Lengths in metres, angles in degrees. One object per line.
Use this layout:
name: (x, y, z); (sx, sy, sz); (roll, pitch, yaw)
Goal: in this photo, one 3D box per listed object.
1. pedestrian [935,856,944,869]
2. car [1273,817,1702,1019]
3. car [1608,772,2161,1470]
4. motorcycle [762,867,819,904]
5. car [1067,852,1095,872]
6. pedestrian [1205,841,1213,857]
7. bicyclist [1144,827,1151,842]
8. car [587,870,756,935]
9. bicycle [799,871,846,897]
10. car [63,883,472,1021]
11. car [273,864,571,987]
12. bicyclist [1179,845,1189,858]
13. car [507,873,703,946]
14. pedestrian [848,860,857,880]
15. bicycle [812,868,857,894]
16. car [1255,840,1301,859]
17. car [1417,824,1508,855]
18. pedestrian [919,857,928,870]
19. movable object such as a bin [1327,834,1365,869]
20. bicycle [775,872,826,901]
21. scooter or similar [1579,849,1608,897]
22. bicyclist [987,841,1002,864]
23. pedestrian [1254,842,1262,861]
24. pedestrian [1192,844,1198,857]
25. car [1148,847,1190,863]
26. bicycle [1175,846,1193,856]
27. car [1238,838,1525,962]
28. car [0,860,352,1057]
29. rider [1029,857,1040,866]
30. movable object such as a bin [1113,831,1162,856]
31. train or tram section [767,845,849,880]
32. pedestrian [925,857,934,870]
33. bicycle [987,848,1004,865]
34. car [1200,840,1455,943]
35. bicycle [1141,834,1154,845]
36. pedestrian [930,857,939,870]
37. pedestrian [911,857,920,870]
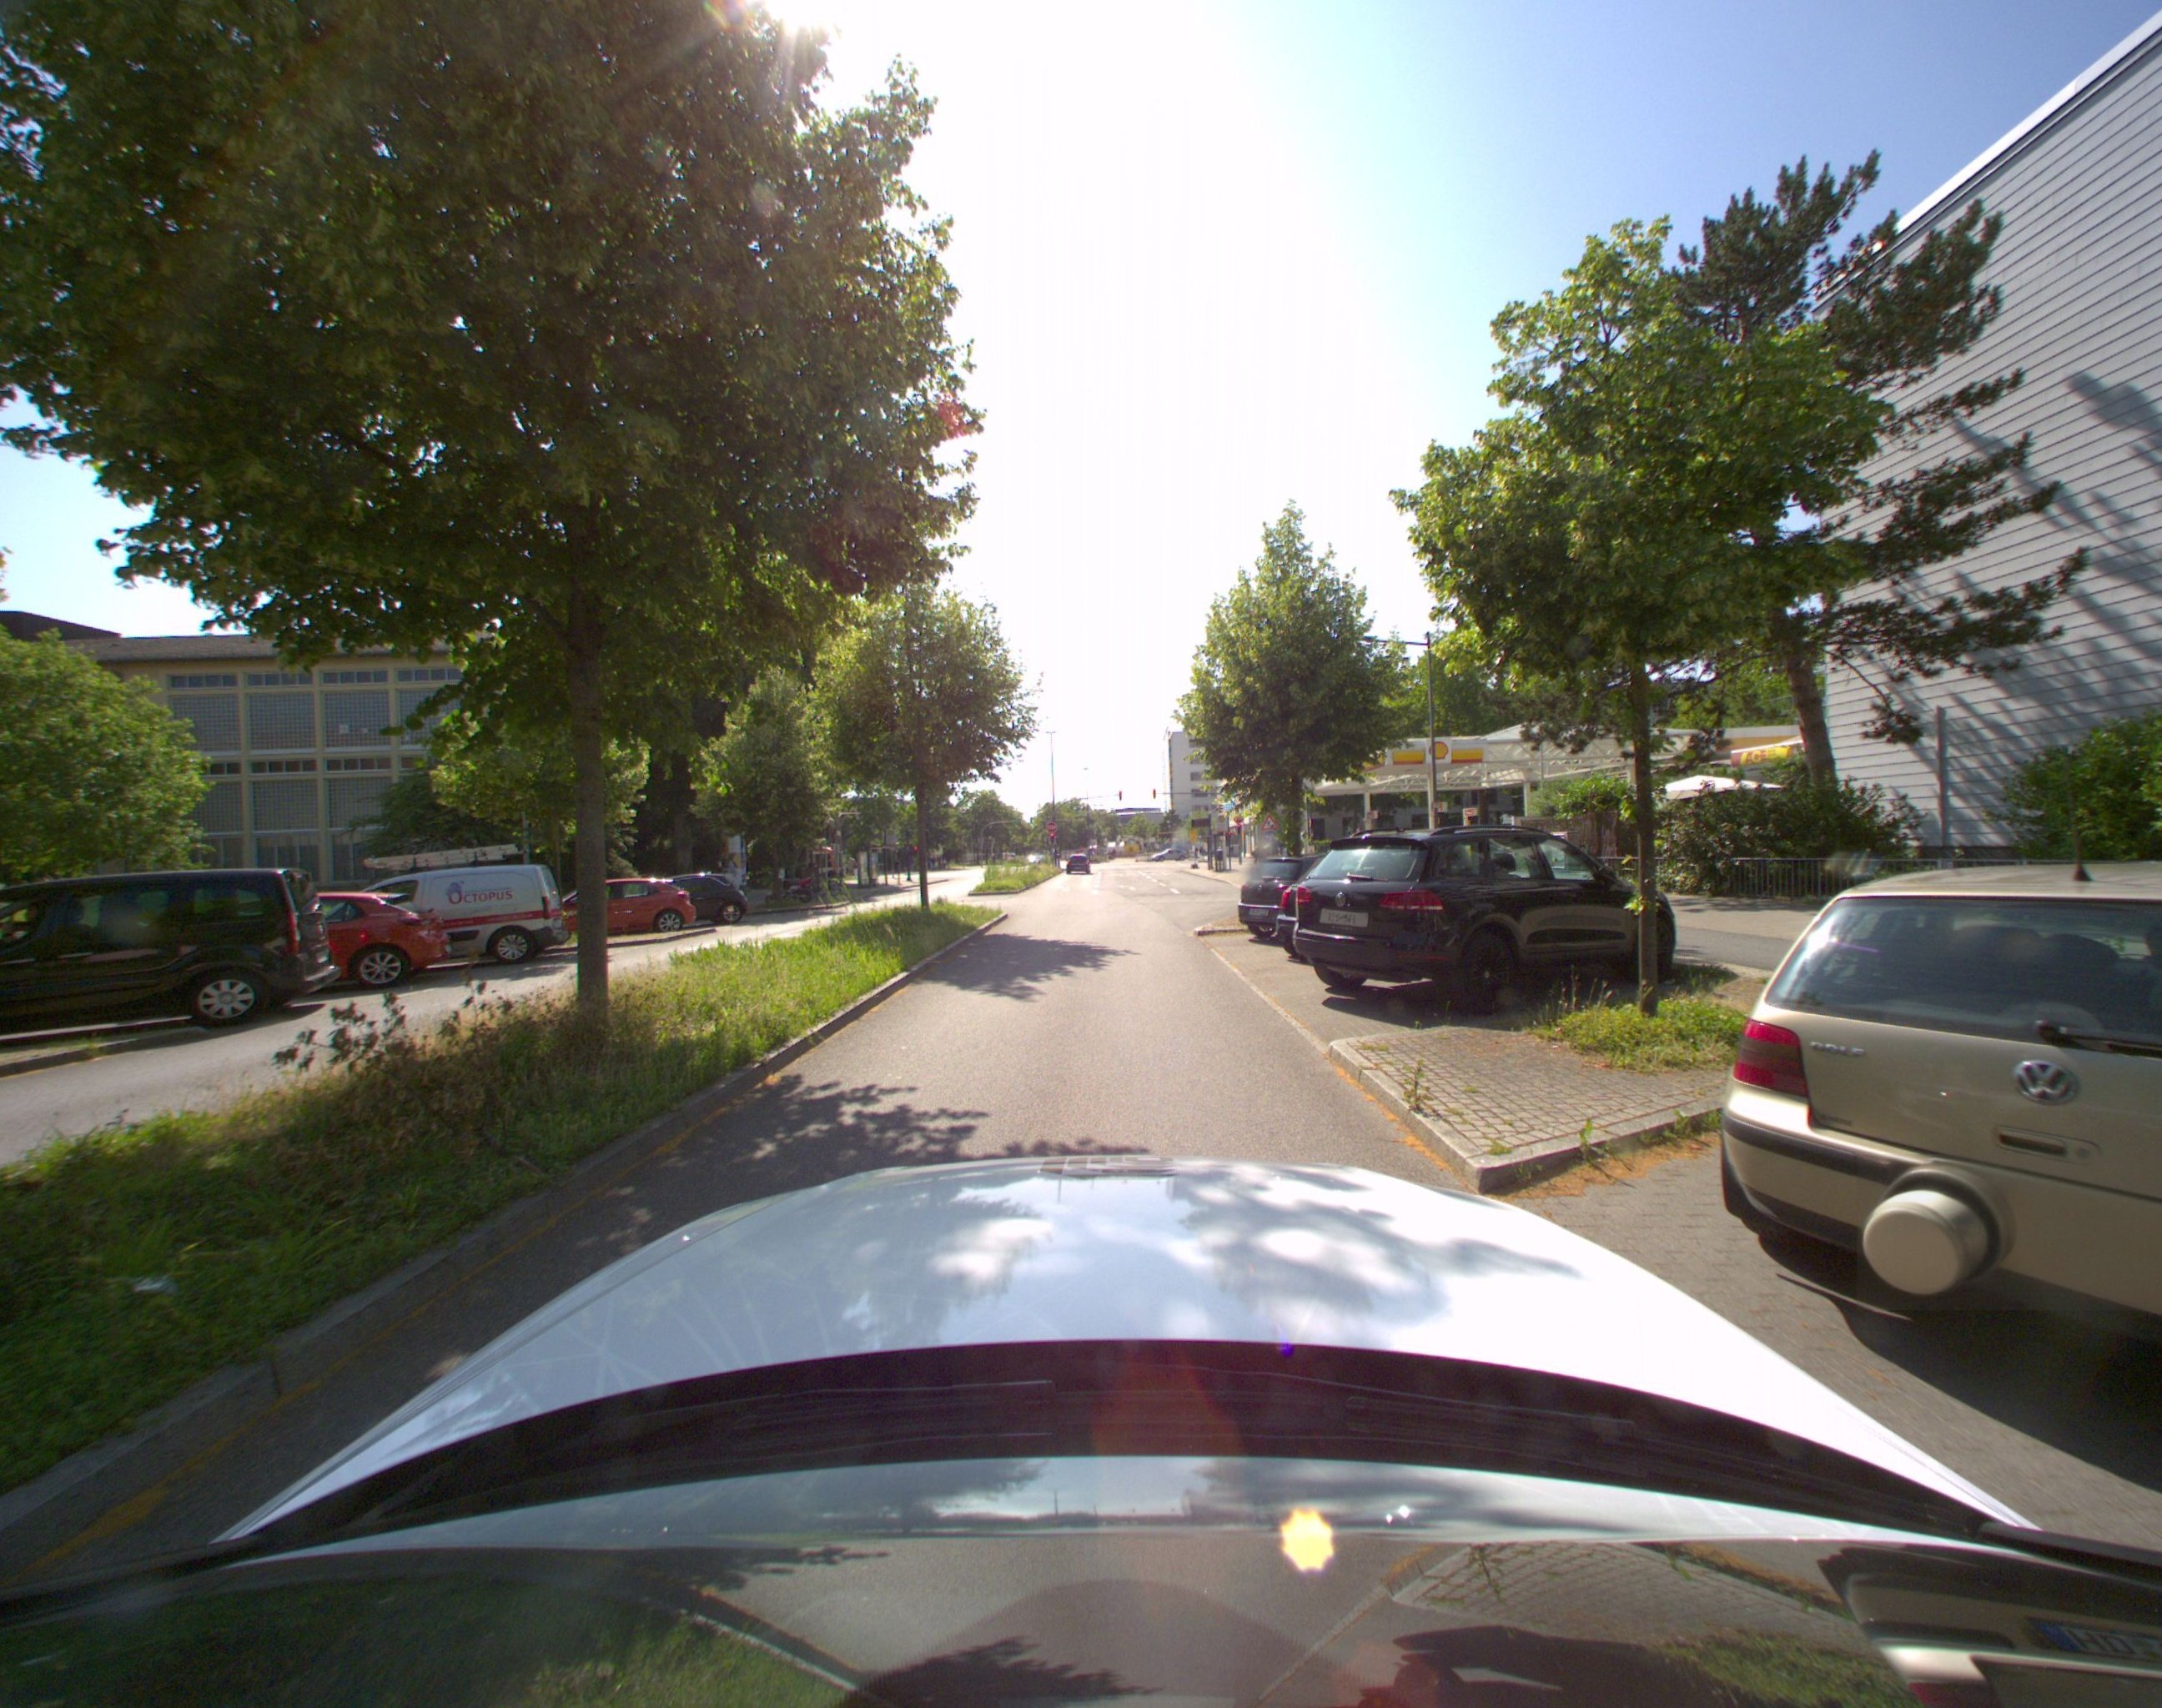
pedestrian: (-18.117, 1.132, 104.495); (0.660, 1.611, 0.947); (-2, 0, 25)
car: (4.507, 0.503, 8.829); (4.759, 1.660, 1.736); (-2, 0, -29)
car: (4.097, 0.568, 3.196); (4.012, 1.640, 1.736); (-2, 0, -30)
motorcycle: (-10.840, 1.184, 30.467); (1.842, 1.284, 0.692); (-2, 0, -5)
car: (-0.035, 0.589, 60.847); (1.988, 1.398, 3.998); (-2, 0, -1)
pedestrian: (16.739, -0.695, 106.687); (0.770, 2.013, 0.782); (-2, 0, 30)
bicyclist: (11.631, -3.394, 142.236); (1.063, 2.574, 0.829); (-2, 0, 7)
car: (-11.197, 1.284, 22.370); (3.794, 1.423, 1.834); (-3, -1, -39)
bicycle: (-11.742, 1.359, 37.030); (1.838, 1.106, 0.693); (-2, 0, 2)
car: (-11.407, 1.275, 11.854); (3.786, 1.427, 1.838); (-3, 1, -30)
car: (-11.326, 1.144, 14.381); (3.786, 1.772, 1.802); (-2, 0, -30)
bicyclist: (13.691, -0.303, 107.726); (1.232, 1.673, 0.526); (-2, 0, 10)
car: (-11.303, 1.248, 19.464); (3.858, 1.423, 1.697); (-2, 0, -34)
pedestrian: (-19.942, 1.374, 71.119); (0.660, 1.726, 0.749); (-2, 0, -16)
bicycle: (-11.563, 1.260, 38.248); (1.838, 1.122, 0.693); (-2, 0, 2)
car: (23.033, -0.502, 95.441); (4.840, 2.013, 1.999); (-2, 0, -1)
car: (36.919, -1.387, 79.009); (7.409, 2.674, 2.901); (-2, 1, -2)
pedestrian: (-20.108, 1.204, 103.967); (0.648, 1.611, 0.947); (-2, 0, 25)
movable object such as a bin: (13.204, -0.123, 40.633); (1.304, 1.592, 1.395); (-5, 0, -1)
bicycle: (-11.557, 1.349, 33.585); (1.838, 1.092, 0.693); (-2, 0, 2)
scooter or similar: (12.736, 0.453, 20.243); (0.229, 1.166, 0.960); (-2, 0, 9)
bicyclist: (-11.464, -0.217, 108.249); (1.594, 2.931, 2.354); (-2, 0, 2)
pedestrian: (15.159, -0.226, 69.727); (0.616, 1.543, 0.461); (-2, 0, 1)
pedestrian: (15.190, -0.463, 108.271); (0.528, 1.771, 0.717); (-2, 0, -11)
car: (10.153, 0.165, 94.289); (4.389, 1.638, 1.990); (-2, 0, -15)
bicycle: (13.631, -0.388, 107.734); (2.215, 1.285, 0.526); (-2, 0, 9)
car: (4.461, 0.566, 11.980); (4.011, 1.473, 1.752); (-2, 0, -29)
car: (-11.057, 1.094, 9.008); (4.208, 1.816, 1.982); (-3, 1, -36)
rider: (-6.560, 1.096, 116.068); (1.387, 1.196, 2.697); (-2, 0, -1)
movable object such as a bin: (11.378, -2.143, 163.660); (9.634, 4.549, 3.167); (-2, 0, 3)
train or tram section: (-28.894, 0.865, 86.549); (7.531, 3.332, 3.119); (-2, 0, 0)
pedestrian: (-19.345, 1.176, 103.929); (0.648, 1.611, 0.947); (-2, 0, 25)
bicycle: (-11.406, 0.347, 109.067); (1.593, 2.269, 4.002); (-2, 0, 2)
car: (4.428, 0.585, 14.641); (4.126, 1.530, 1.983); (-2, 0, -26)
bicycle: (11.616, -2.554, 142.233); (2.076, 1.962, 0.829); (-2, 0, 7)
pedestrian: (-18.569, 1.145, 103.131); (0.648, 1.611, 0.947); (-2, 0, 25)
pedestrian: (-21.039, 1.242, 103.587); (0.648, 1.611, 0.947); (-2, 0, 25)
